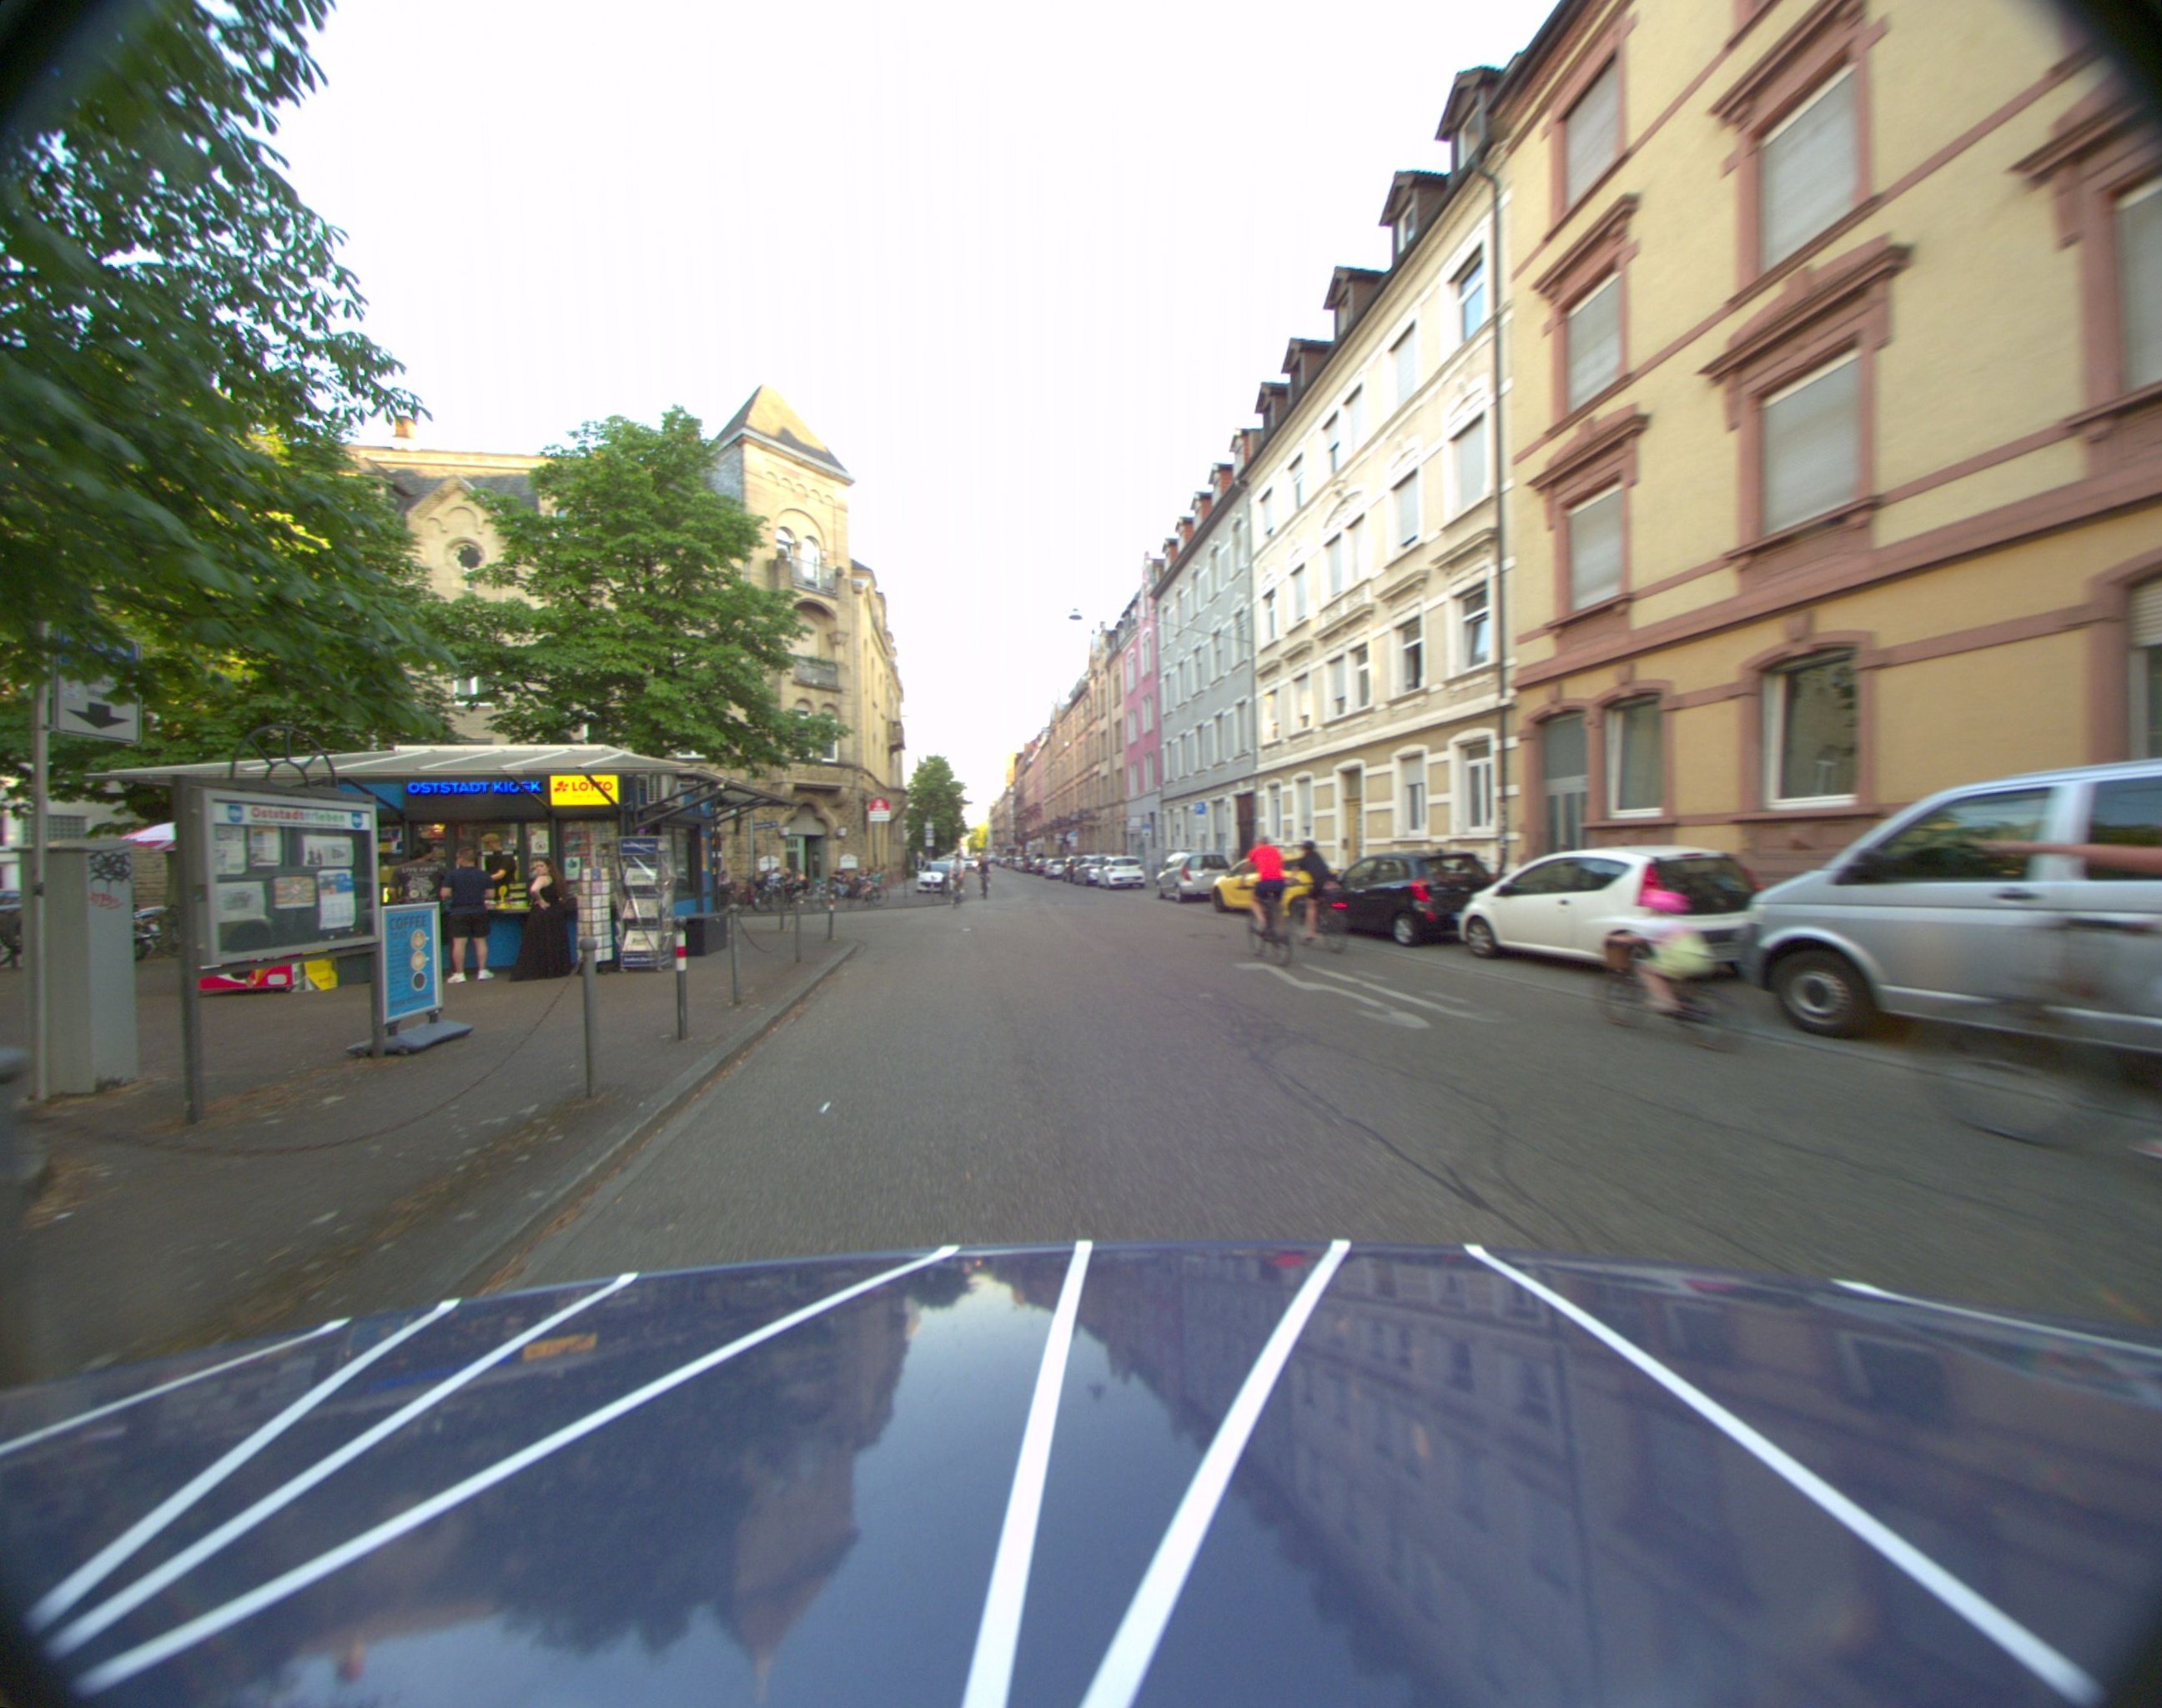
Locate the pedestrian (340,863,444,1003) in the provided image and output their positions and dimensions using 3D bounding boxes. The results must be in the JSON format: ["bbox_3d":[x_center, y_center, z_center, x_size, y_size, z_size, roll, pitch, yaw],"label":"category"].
[{"bbox_3d":[-8.421,0.934,9.314,0.678,1.628,0.590,-1,1,-10],"label":"pedestrian"}]

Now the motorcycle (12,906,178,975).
[{"bbox_3d":[-16.937,1.468,13.091,1.832,1.048,0.579,-1,1,-8],"label":"motorcycle"}]

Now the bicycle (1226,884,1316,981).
[{"bbox_3d":[2.555,1.015,10.471,0.651,1.101,2.014,-1,0,-2],"label":"bicycle"}]

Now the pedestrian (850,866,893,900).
[{"bbox_3d":[-8.318,1.123,30.242,0.839,1.278,1.422,1,1,39],"label":"pedestrian"}]

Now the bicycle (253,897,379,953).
[{"bbox_3d":[-15.174,1.399,15.112,1.739,0.990,0.579,-1,1,-8],"label":"bicycle"}]

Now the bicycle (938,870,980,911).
[{"bbox_3d":[-3.767,1.118,23.587,0.685,1.145,2.116,-1,0,7],"label":"bicycle"}]

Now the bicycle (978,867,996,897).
[{"bbox_3d":[-3.832,1.126,31.013,0.686,1.145,2.113,-2,0,-7],"label":"bicycle"}]

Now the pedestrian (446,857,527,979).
[{"bbox_3d":[-8.318,0.872,10.665,0.679,1.628,0.590,-2,1,-17],"label":"pedestrian"}]

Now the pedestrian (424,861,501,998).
[{"bbox_3d":[-7.766,0.910,9.559,0.679,1.628,0.589,-2,1,-39],"label":"pedestrian"}]

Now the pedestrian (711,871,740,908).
[{"bbox_3d":[-12.548,1.242,26.846,0.706,1.275,0.877,-2,1,-13],"label":"pedestrian"}]

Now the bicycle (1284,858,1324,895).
[{"bbox_3d":[7.154,0.704,24.458,0.481,1.133,1.862,-1,0,-7],"label":"bicycle"}]

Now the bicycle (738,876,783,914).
[{"bbox_3d":[-10.254,1.300,24.394,0.502,1.105,1.835,-1,0,5],"label":"bicycle"}]

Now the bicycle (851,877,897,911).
[{"bbox_3d":[-6.899,1.322,25.360,0.431,1.033,1.478,0,1,40],"label":"bicycle"}]

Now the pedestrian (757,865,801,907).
[{"bbox_3d":[-10.777,1.119,27.133,0.839,1.389,1.106,0,3,33],"label":"pedestrian"}]

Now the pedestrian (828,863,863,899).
[{"bbox_3d":[-9.299,1.071,30.005,1.009,1.388,0.899,-1,-1,39],"label":"pedestrian"}]

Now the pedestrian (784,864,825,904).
[{"bbox_3d":[-10.190,1.079,28.013,0.839,1.389,1.106,0,2,32],"label":"pedestrian"}]

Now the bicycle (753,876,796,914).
[{"bbox_3d":[-9.736,1.286,24.228,0.476,1.064,1.835,-1,0,5],"label":"bicycle"}]

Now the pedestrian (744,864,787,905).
[{"bbox_3d":[-11.407,1.095,27.521,0.839,1.389,1.106,0,3,33],"label":"pedestrian"}]

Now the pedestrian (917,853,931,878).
[{"bbox_3d":[-10.938,0.791,53.044,0.852,1.756,0.833,0,1,-5],"label":"pedestrian"}]

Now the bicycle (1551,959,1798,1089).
[{"bbox_3d":[4.461,1.247,5.850,0.651,0.639,1.463,-2,0,-7],"label":"bicycle"}]

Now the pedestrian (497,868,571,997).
[{"bbox_3d":[-6.900,0.951,9.585,0.679,1.530,0.589,-2,1,-39],"label":"pedestrian"}]

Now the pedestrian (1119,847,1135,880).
[{"bbox_3d":[2.744,0.554,45.366,0.852,1.937,0.833,-1,1,-5],"label":"pedestrian"}]

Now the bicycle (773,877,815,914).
[{"bbox_3d":[-9.225,1.310,24.504,0.513,1.060,1.835,-1,0,5],"label":"bicycle"}]

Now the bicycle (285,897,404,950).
[{"bbox_3d":[-15.338,1.435,15.858,1.739,0.990,0.579,-1,1,-8],"label":"bicycle"}]

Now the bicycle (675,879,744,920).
[{"bbox_3d":[-11.437,1.385,23.440,1.836,1.144,0.557,-2,1,-22],"label":"bicycle"}]

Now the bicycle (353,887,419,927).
[{"bbox_3d":[-20.896,1.580,22.886,0.591,1.071,1.832,-2,0,-12],"label":"bicycle"}]

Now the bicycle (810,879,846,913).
[{"bbox_3d":[-8.156,1.339,24.555,0.447,0.974,1.706,-1,0,5],"label":"bicycle"}]

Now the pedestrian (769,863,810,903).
[{"bbox_3d":[-10.907,1.065,28.433,0.839,1.389,1.106,0,2,32],"label":"pedestrian"}]

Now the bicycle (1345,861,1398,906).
[{"bbox_3d":[7.746,0.758,20.363,0.481,1.133,1.862,-1,0,-7],"label":"bicycle"}]

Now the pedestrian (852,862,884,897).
[{"bbox_3d":[-8.691,1.016,31.010,0.840,1.388,1.105,0,0,9],"label":"pedestrian"}]

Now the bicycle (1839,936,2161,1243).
[{"bbox_3d":[4.669,1.008,3.162,0.730,1.088,2.045,-2,1,-16],"label":"bicycle"}]
